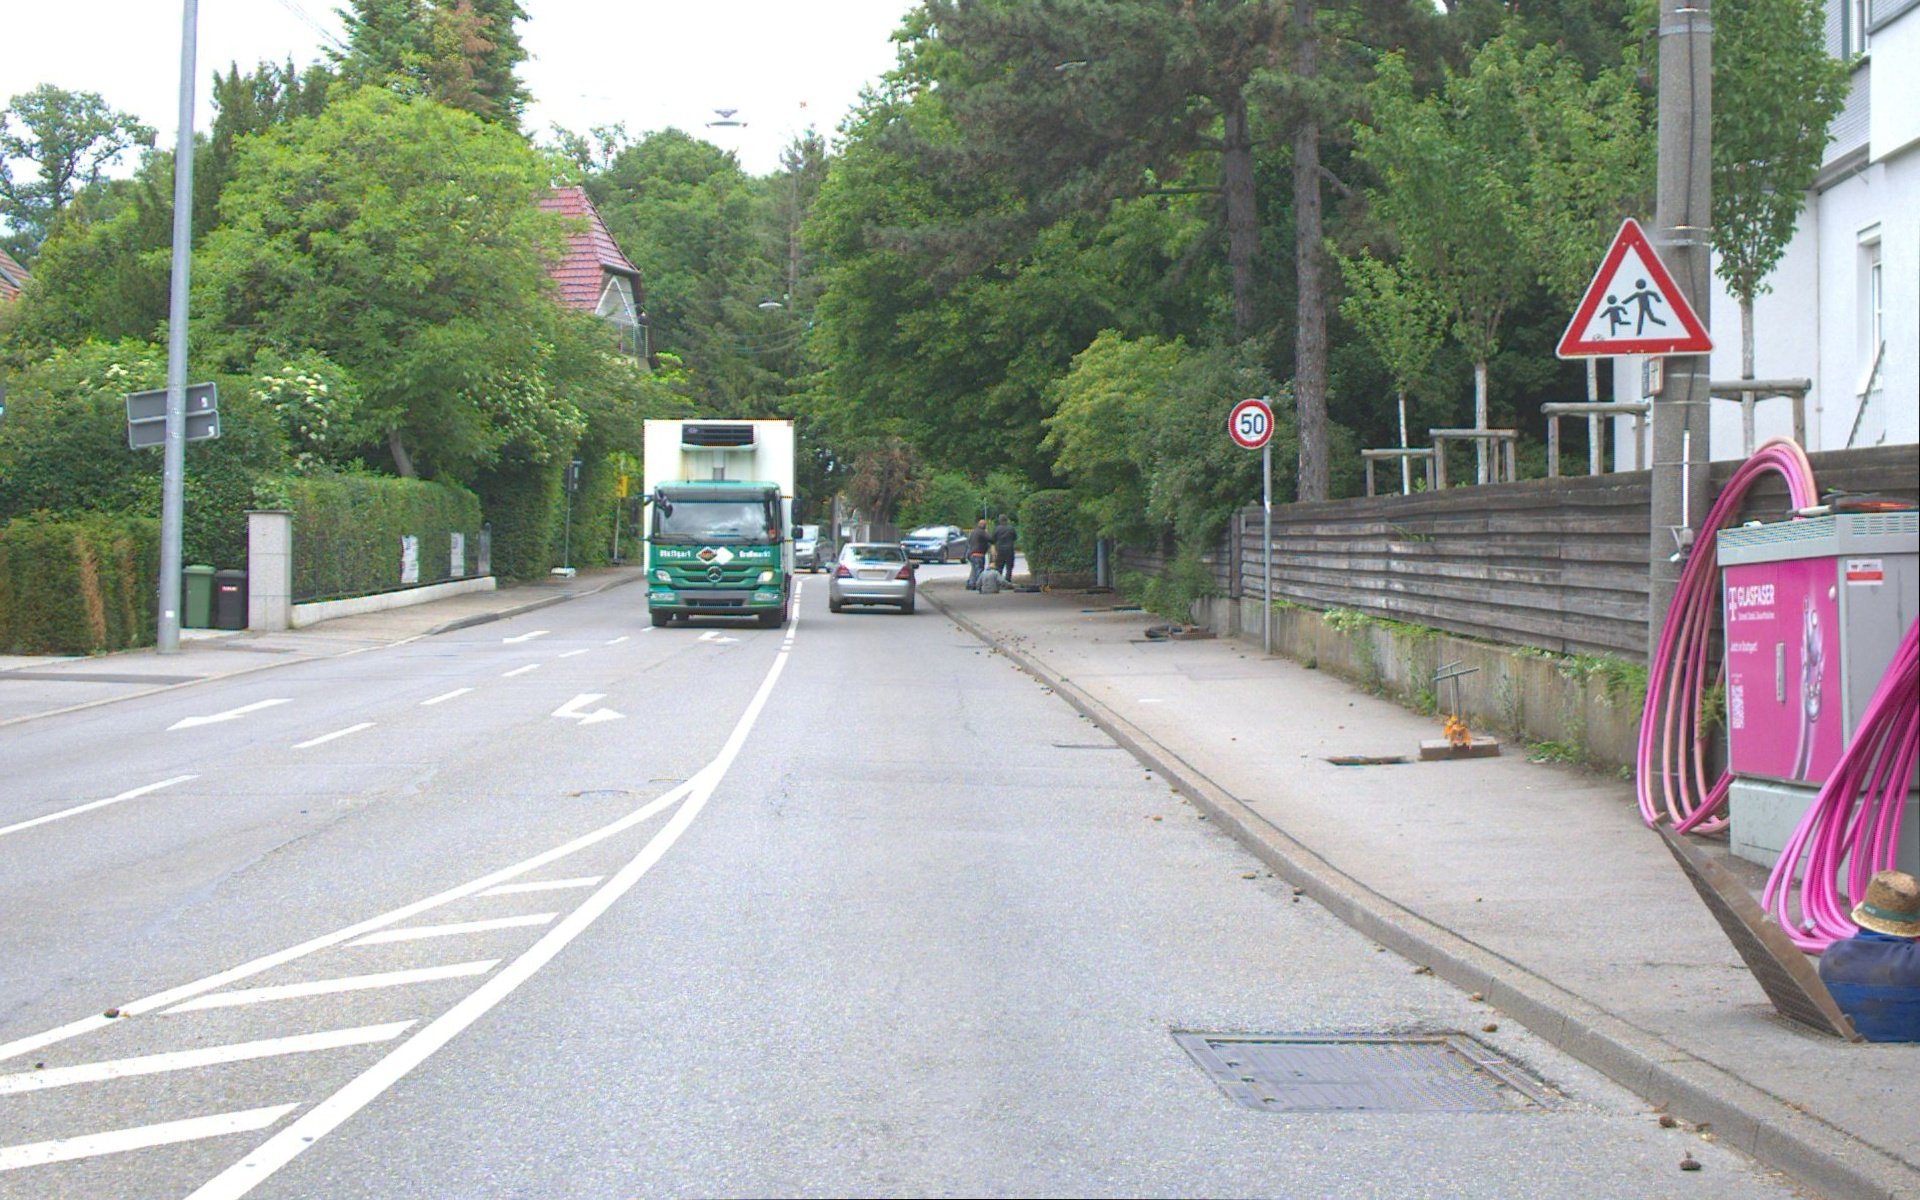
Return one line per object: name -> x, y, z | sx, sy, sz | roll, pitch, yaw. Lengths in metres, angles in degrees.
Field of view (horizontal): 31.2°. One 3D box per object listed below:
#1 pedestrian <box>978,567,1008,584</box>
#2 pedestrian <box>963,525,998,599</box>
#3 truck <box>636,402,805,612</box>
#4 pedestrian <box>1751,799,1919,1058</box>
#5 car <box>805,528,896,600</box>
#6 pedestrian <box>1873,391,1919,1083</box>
pedestrian -> 0.771, -0.579, 81.044 | 0.672, 0.392, 0.741 | 0, 1, -3
pedestrian -> 0.502, -0.926, 83.426 | 0.807, 1.801, 0.741 | 0, 1, -3
truck -> -4.297, -1.545, 60.424 | 2.777, 3.449, 7.495 | 0, 0, -5
pedestrian -> 2.876, 0.996, 10.593 | 0.645, 0.694, 0.585 | -1, 2, -43
car -> -2.221, -0.710, 70.017 | 1.797, 1.410, 4.336 | 0, 0, -2
pedestrian -> 3.127, 0.383, 9.483 | 0.845, 1.917, 0.801 | 0, 1, -22
